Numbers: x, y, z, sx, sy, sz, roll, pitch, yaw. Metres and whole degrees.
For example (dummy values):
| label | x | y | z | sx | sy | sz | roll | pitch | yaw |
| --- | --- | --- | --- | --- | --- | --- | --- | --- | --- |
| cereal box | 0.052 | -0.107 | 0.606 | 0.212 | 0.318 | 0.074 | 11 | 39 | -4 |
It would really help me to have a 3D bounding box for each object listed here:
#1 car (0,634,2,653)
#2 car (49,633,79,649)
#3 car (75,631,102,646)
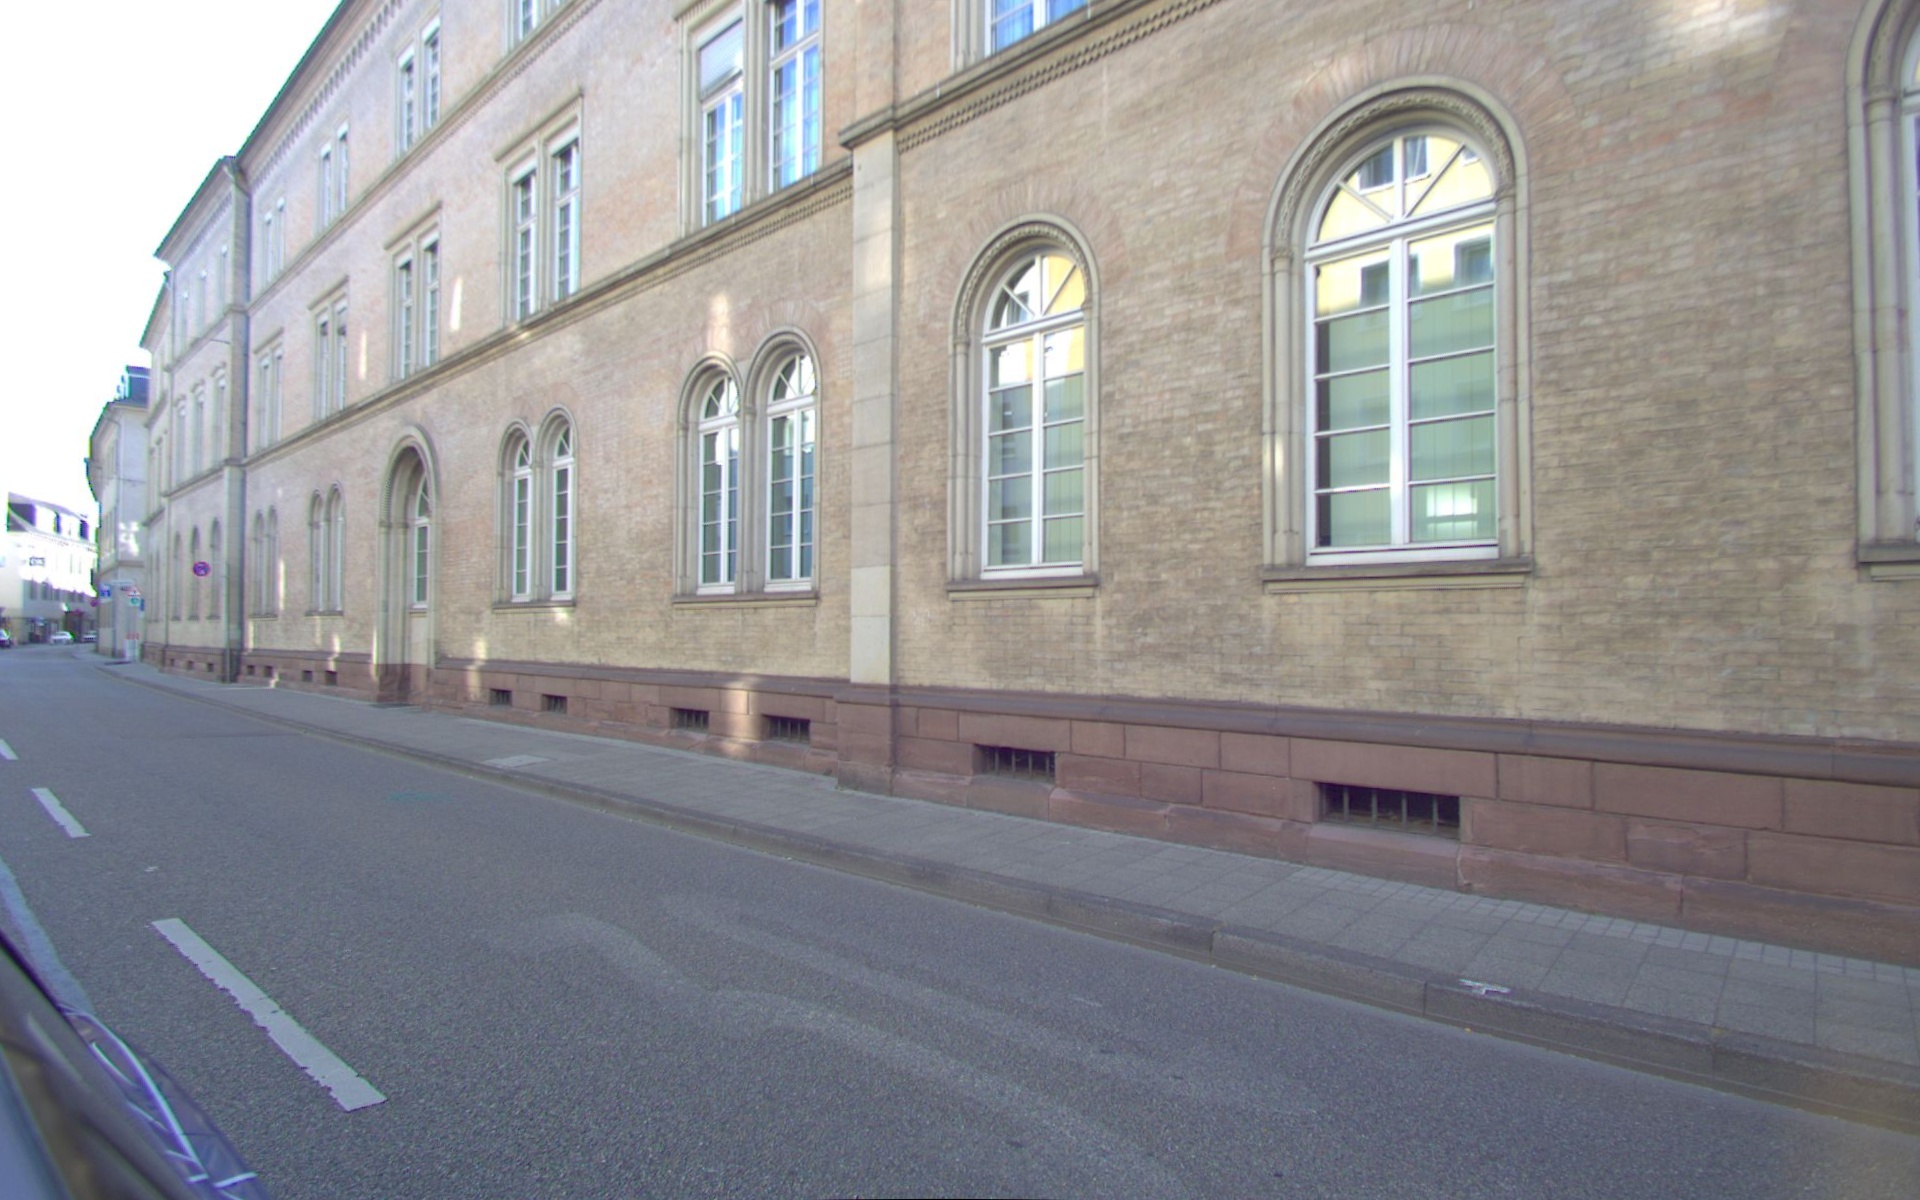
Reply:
| label | x | y | z | sx | sy | sz | roll | pitch | yaw |
| --- | --- | --- | --- | --- | --- | --- | --- | --- | --- |
| car | -86.626 | 3.923 | 89.964 | 1.969 | 1.665 | 4.235 | -1 | 0 | -41 |
| car | -102.867 | 4.721 | 116.190 | 1.966 | 1.665 | 4.240 | -1 | 0 | -33 |
| car | -109.241 | 4.802 | 126.842 | 1.966 | 1.665 | 4.240 | -1 | 0 | -33 |
